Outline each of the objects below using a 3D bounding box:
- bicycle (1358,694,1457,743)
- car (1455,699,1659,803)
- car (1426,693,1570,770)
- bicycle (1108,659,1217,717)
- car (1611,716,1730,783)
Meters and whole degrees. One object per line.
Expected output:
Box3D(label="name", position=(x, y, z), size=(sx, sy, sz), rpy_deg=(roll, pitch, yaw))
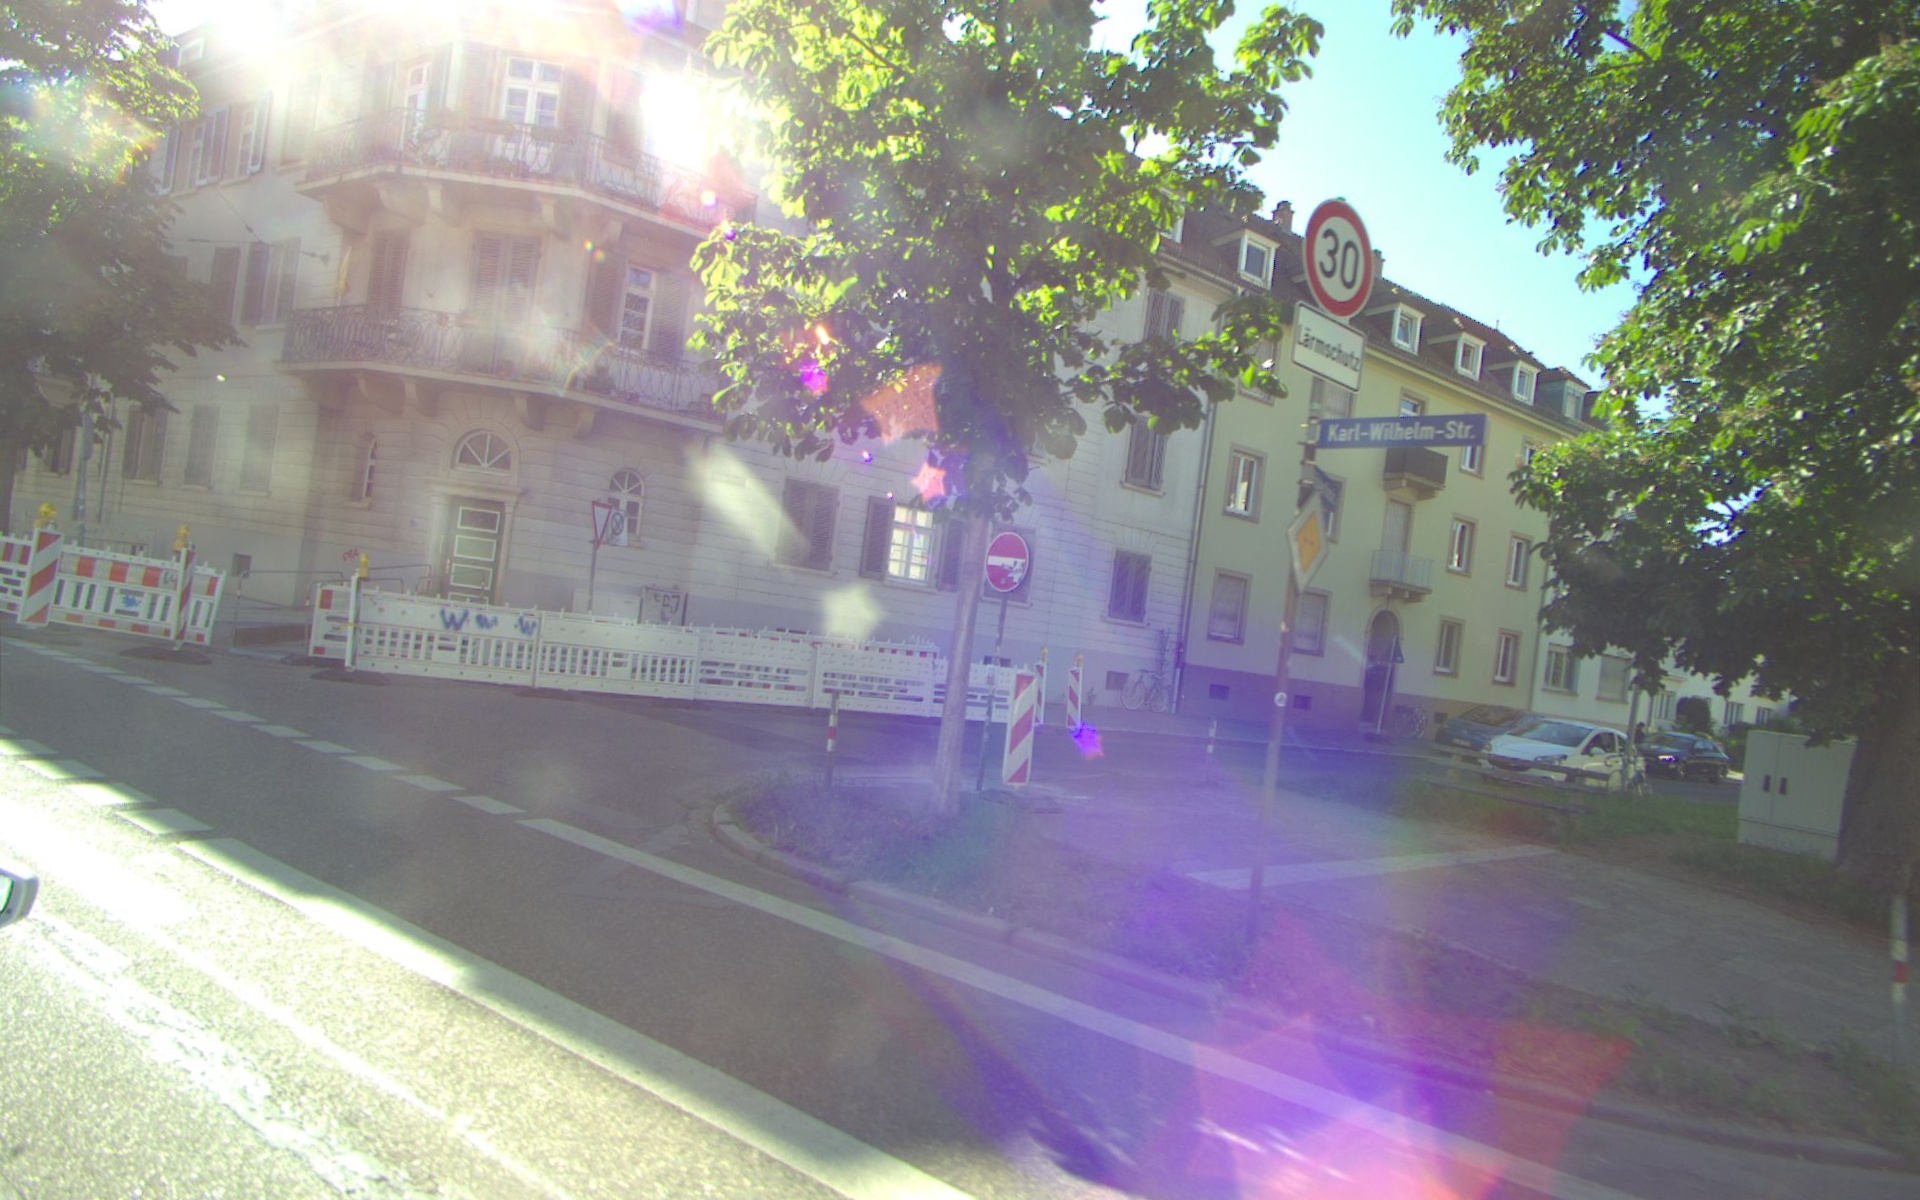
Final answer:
Box3D(label="bicycle", position=(13.822, 3.678, 30.973), size=(3.964, 1.170, 0.759), rpy_deg=(9, -1, -35))
Box3D(label="car", position=(11.874, 3.017, 19.971), size=(3.934, 1.505, 1.770), rpy_deg=(9, 1, -33))
Box3D(label="car", position=(14.853, 3.640, 27.733), size=(3.837, 1.565, 1.826), rpy_deg=(9, 1, -35))
Box3D(label="bicycle", position=(5.174, 2.260, 25.591), size=(3.082, 1.127, 0.521), rpy_deg=(9, 2, -32))
Box3D(label="car", position=(23.682, 4.999, 33.520), size=(3.833, 1.673, 1.770), rpy_deg=(9, 1, -33))
